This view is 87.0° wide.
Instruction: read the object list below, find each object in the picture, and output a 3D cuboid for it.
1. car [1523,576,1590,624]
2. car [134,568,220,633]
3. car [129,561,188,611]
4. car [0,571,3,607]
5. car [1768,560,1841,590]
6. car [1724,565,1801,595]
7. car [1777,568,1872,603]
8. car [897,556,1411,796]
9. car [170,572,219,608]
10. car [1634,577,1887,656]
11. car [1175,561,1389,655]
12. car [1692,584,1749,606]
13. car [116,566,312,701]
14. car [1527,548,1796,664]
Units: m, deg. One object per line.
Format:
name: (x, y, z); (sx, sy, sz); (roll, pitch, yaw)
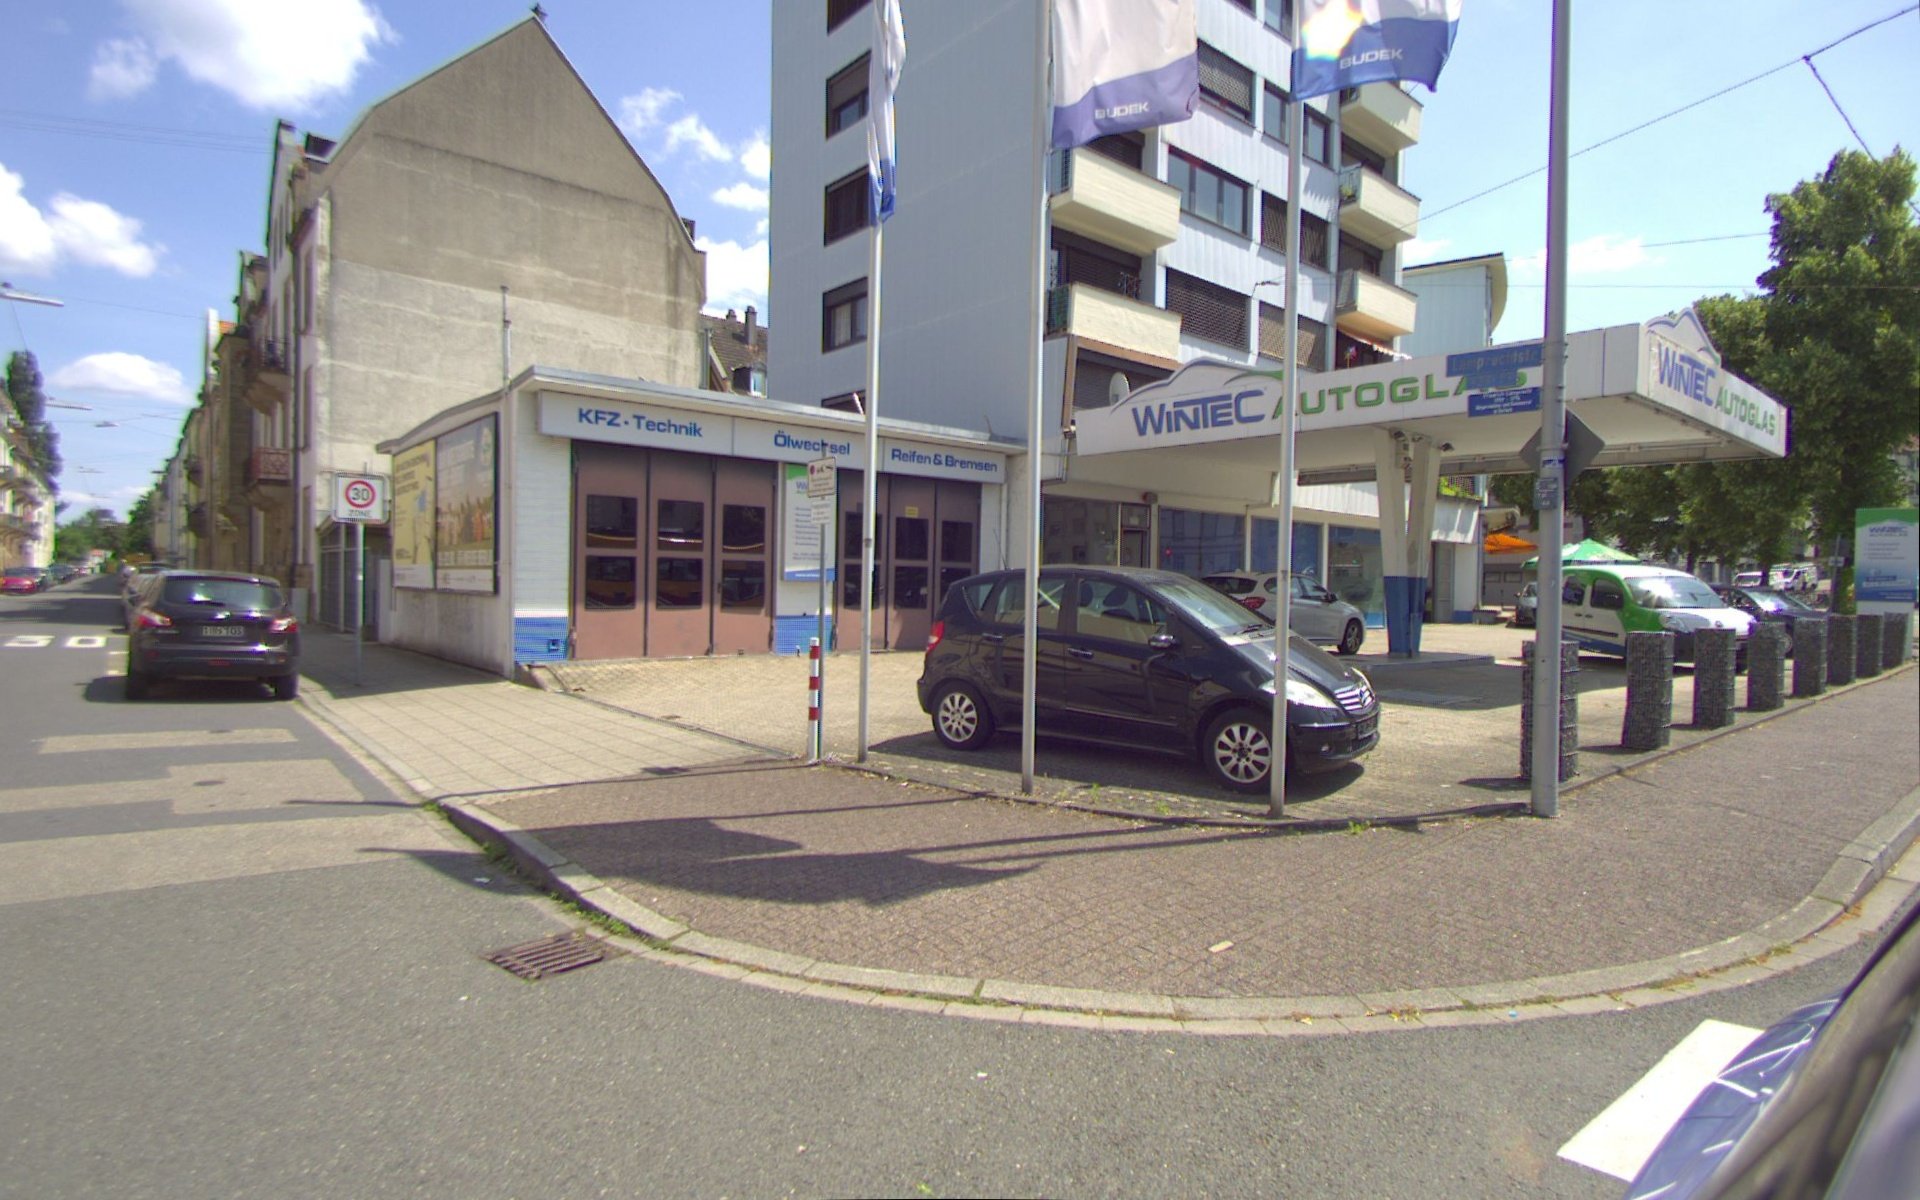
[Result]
car: (18.832, -0.046, 31.971); (1.699, 1.417, 4.237); (0, 1, 31)
car: (-20.212, 0.027, 26.074); (1.621, 1.527, 3.995); (-2, 0, -39)
car: (-29.597, -0.492, 37.338); (1.621, 1.724, 3.995); (-2, 0, -39)
car: (-40.711, -0.449, 41.660); (1.621, 1.527, 3.995); (-2, 0, -39)
car: (62.739, -1.867, 75.180); (5.273, 2.039, 2.405); (-2, 0, -29)
car: (57.064, -1.419, 71.947); (5.273, 2.039, 2.405); (-2, 0, -29)
car: (54.084, -0.915, 63.300); (6.245, 2.039, 2.405); (-2, 0, -29)
car: (1.504, 0.435, 8.494); (3.868, 1.562, 1.817); (1, 2, 38)
car: (-34.795, -0.430, 45.972); (1.621, 1.527, 3.995); (-2, 0, -39)
car: (16.839, 0.274, 21.563); (1.664, 1.446, 3.983); (0, 2, -16)
car: (6.380, 0.102, 19.820); (4.621, 1.647, 1.750); (-1, 1, -39)
car: (52.021, -0.344, 69.206); (4.073, 1.386, 1.534); (-2, 0, -29)
car: (-10.125, 0.388, 13.767); (1.808, 1.562, 3.887); (4, -1, -37)
car: (12.391, 0.081, 18.285); (1.788, 1.812, 4.290); (-2, 0, -1)
